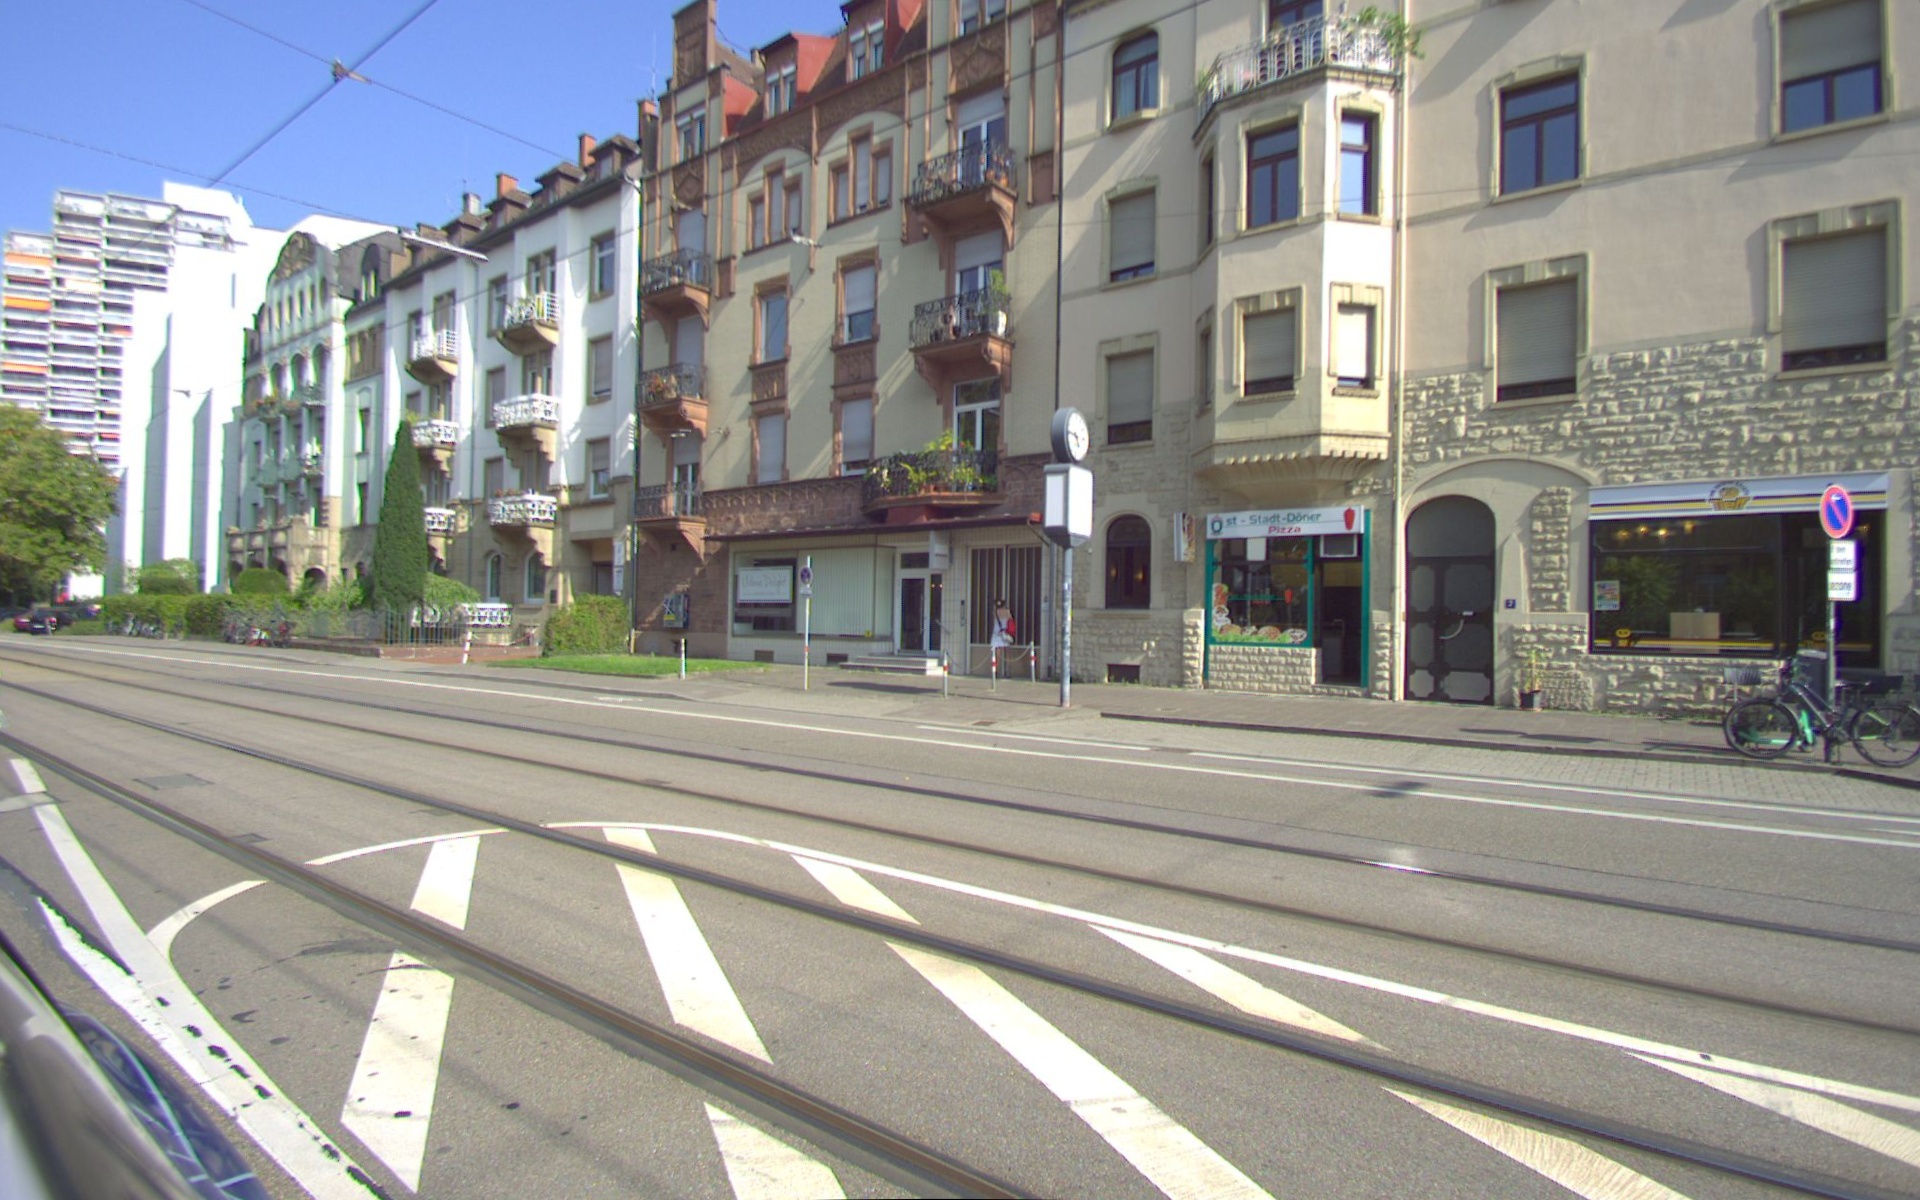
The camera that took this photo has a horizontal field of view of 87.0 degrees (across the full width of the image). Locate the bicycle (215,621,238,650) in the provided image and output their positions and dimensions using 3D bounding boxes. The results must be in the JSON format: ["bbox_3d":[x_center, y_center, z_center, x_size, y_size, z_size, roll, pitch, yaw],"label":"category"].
[{"bbox_3d":[-28.960,1.396,39.941,1.353,1.096,0.366,-1,-2,39],"label":"bicycle"}]

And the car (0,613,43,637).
[{"bbox_3d":[-63.377,1.634,67.261,1.743,1.539,4.008,1,-2,-10],"label":"car"}]

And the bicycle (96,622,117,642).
[{"bbox_3d":[-43.254,1.616,51.276,1.767,0.985,0.420,-1,-2,38],"label":"bicycle"}]

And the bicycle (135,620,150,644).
[{"bbox_3d":[-38.396,1.498,47.512,0.419,1.096,1.678,3,-2,-42],"label":"bicycle"}]

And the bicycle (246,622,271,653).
[{"bbox_3d":[-25.587,1.353,36.914,1.353,1.096,0.366,-1,-2,39],"label":"bicycle"}]

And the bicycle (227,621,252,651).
[{"bbox_3d":[-27.620,1.373,38.785,1.353,1.096,0.366,-1,-2,39],"label":"bicycle"}]

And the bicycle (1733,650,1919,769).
[{"bbox_3d":[9.860,1.196,11.337,1.849,1.236,0.450,0,-2,30],"label":"bicycle"}]

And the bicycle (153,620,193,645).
[{"bbox_3d":[-35.704,1.474,45.919,0.423,1.096,1.386,0,-2,21],"label":"bicycle"}]

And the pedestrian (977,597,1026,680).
[{"bbox_3d":[0.940,0.876,23.189,0.763,1.874,0.832,2,-2,-33],"label":"pedestrian"}]

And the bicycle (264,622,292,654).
[{"bbox_3d":[-24.158,1.351,35.863,1.486,1.096,0.366,-1,-2,39],"label":"bicycle"}]

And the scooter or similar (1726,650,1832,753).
[{"bbox_3d":[9.804,1.209,12.122,1.018,1.206,0.367,1,-2,-7],"label":"scooter or similar"}]

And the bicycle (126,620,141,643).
[{"bbox_3d":[-39.116,1.487,47.906,0.419,1.096,1.678,3,-2,-42],"label":"bicycle"}]

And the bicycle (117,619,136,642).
[{"bbox_3d":[-40.598,1.501,49.269,1.676,1.096,0.420,-1,-2,41],"label":"bicycle"}]

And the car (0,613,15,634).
[{"bbox_3d":[-70.381,1.654,72.658,1.743,1.539,4.008,1,-2,-10],"label":"car"}]

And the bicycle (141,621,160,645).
[{"bbox_3d":[-36.864,1.493,46.073,1.676,1.096,0.420,-1,-3,43],"label":"bicycle"}]

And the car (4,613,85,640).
[{"bbox_3d":[-55.151,1.594,61.044,1.743,1.539,4.008,1,-2,-10],"label":"car"}]

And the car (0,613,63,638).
[{"bbox_3d":[-60.816,1.659,65.901,1.743,1.539,4.008,1,-2,-10],"label":"car"}]

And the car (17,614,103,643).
[{"bbox_3d":[-50.229,1.573,56.591,1.743,1.539,4.008,1,-2,-10],"label":"car"}]
